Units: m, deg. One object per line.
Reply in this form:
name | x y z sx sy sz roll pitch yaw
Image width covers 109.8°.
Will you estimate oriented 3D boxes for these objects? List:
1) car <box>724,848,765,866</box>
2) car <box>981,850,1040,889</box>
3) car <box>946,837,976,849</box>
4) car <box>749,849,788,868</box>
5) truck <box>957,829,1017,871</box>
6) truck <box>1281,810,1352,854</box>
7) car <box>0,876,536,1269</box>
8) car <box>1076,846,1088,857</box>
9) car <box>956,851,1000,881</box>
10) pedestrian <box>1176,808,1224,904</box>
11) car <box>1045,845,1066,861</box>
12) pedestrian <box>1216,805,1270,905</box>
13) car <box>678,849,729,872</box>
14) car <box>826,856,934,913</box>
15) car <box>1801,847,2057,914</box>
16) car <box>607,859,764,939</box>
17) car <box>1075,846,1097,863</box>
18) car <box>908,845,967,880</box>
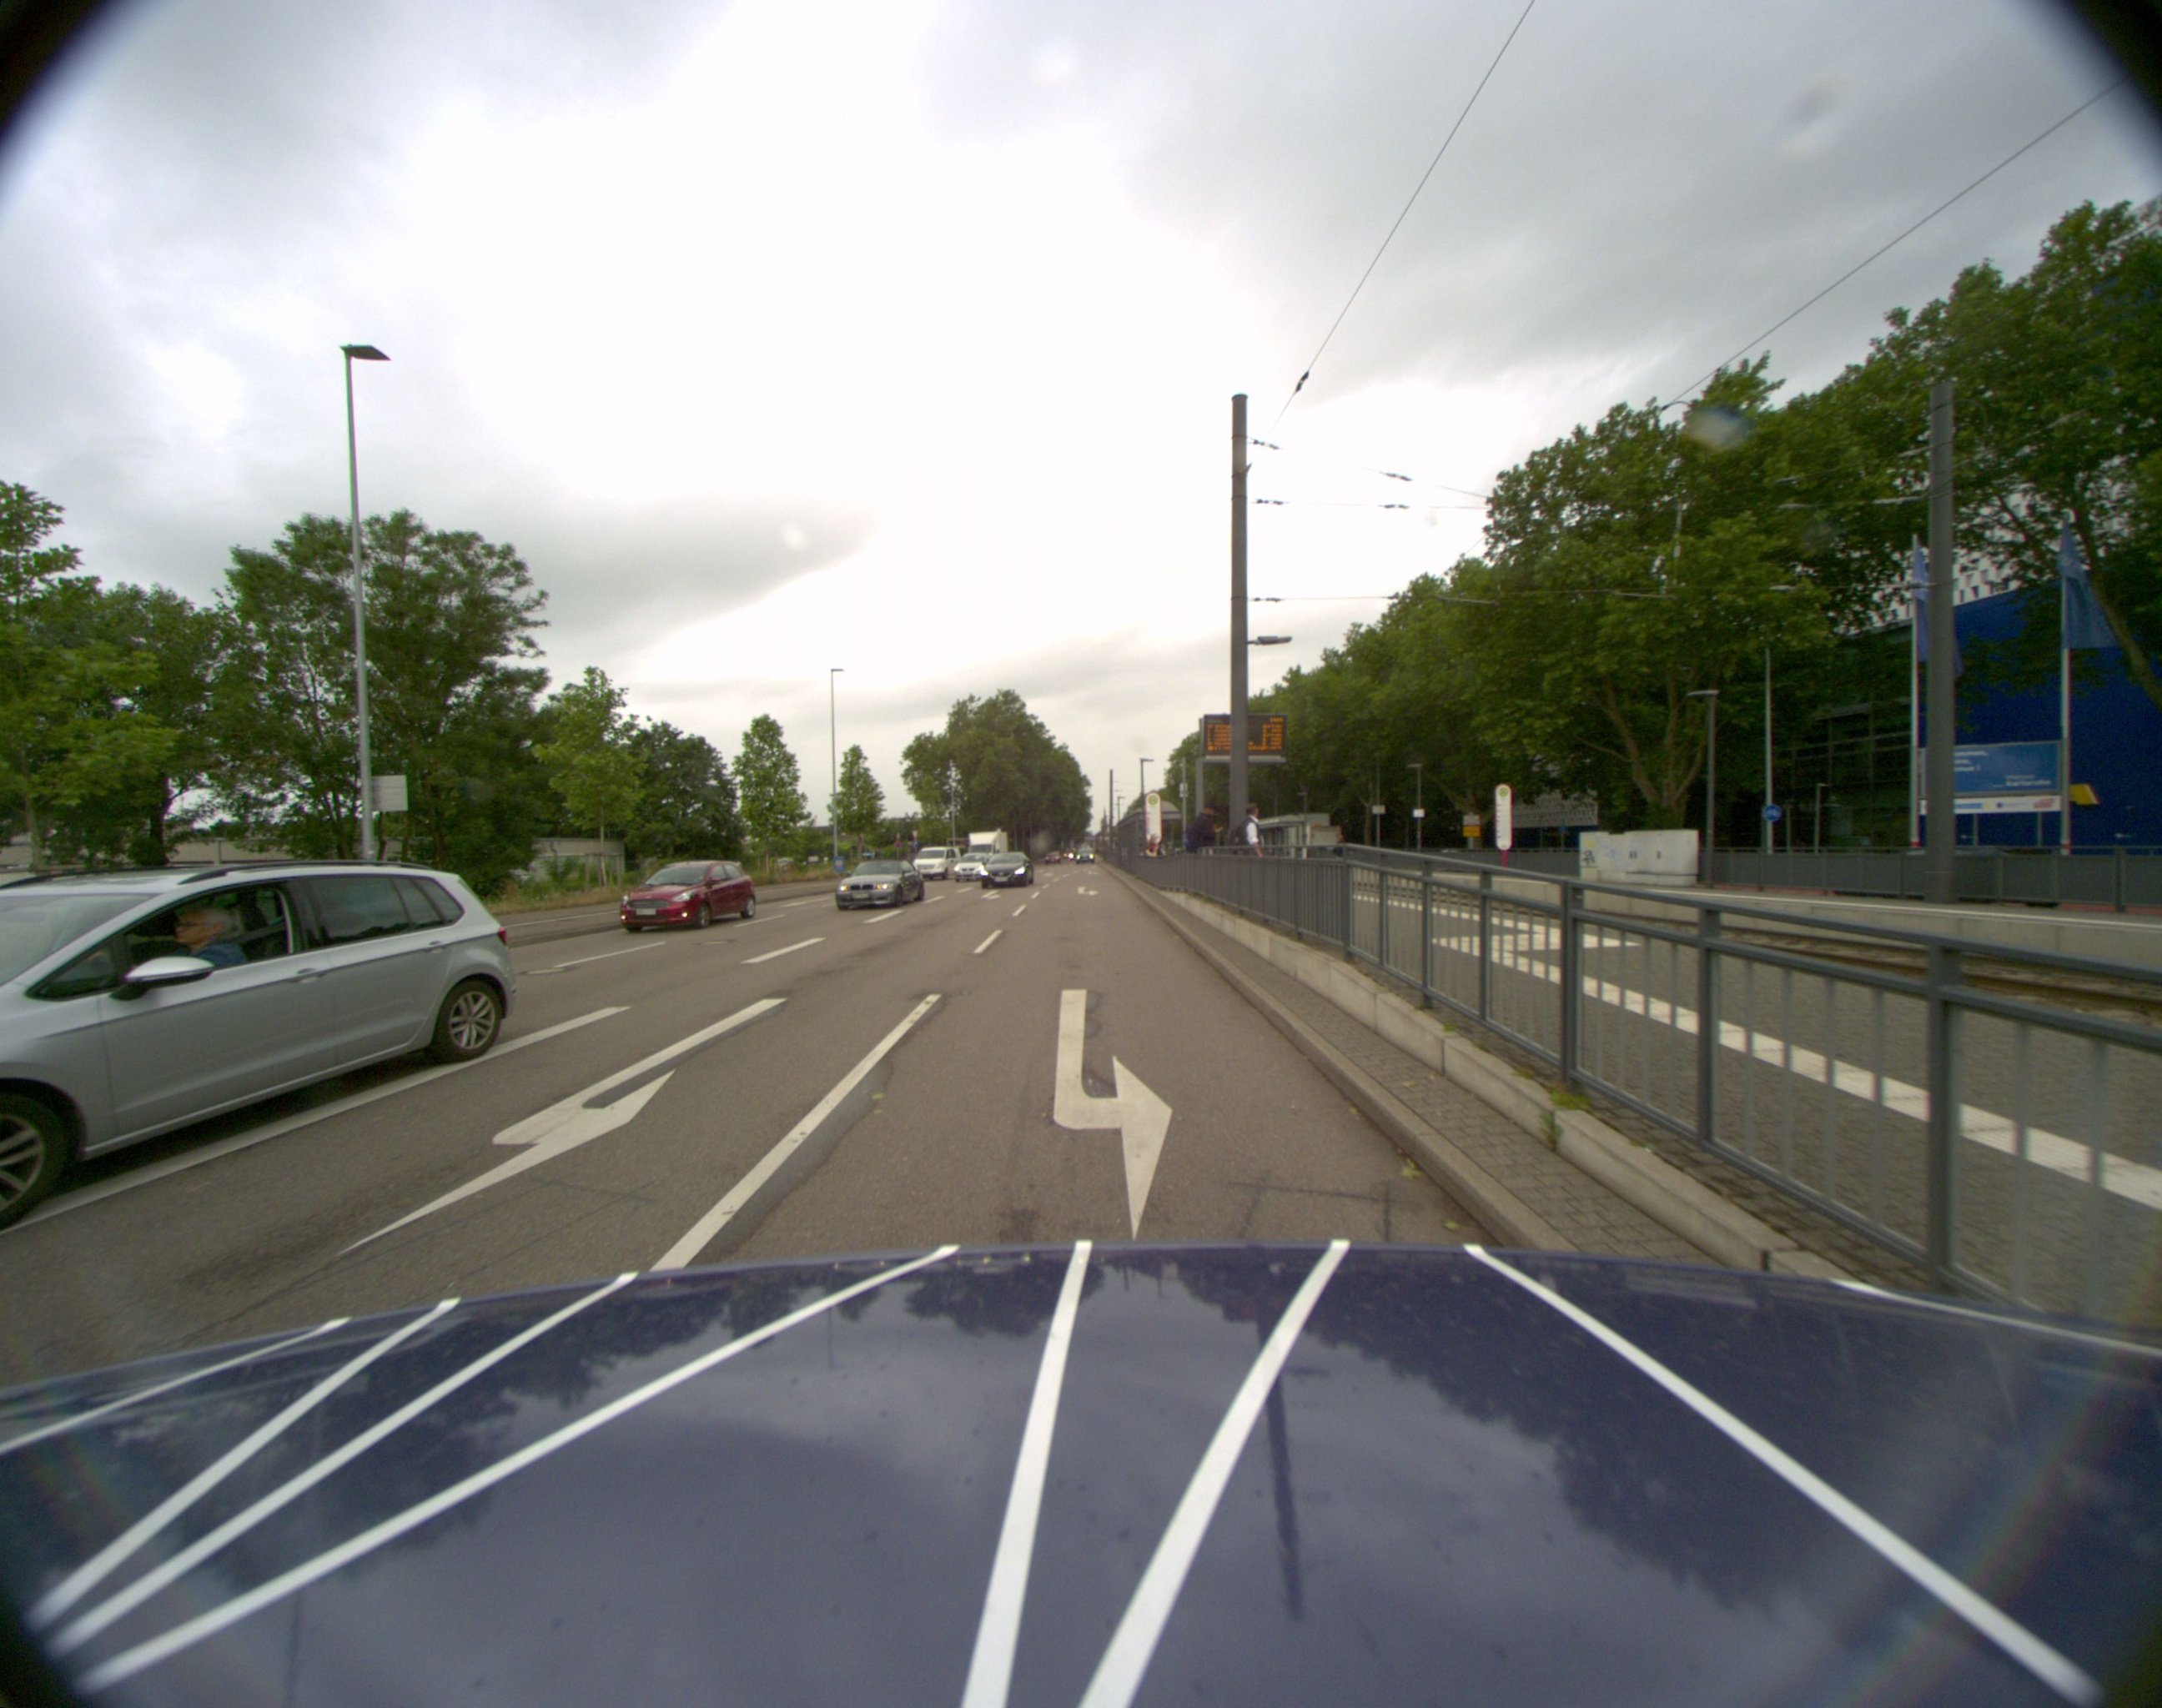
car | -33.958 0.262 76.836 2.123 1.686 4.649 -2 0 -2
car | -2.818 0.591 31.416 1.999 1.383 4.343 -2 1 0
car | -17.181 -1.585 108.862 3.998 1.499 1.809 -2 2 -4
car | -35.182 0.447 85.680 2.316 2.002 4.558 -2 0 0
truck | -7.072 -0.349 58.299 2.824 2.906 6.547 -2 1 8
truck | 21.114 -1.941 68.820 3.259 3.642 9.895 1 1 0
car | -5.576 1.021 4.330 1.859 1.543 4.200 -2 1 0
car | 0.189 -0.401 117.566 1.712 1.664 3.714 -1 1 4
car | -5.383 0.604 40.085 1.682 1.411 3.849 -2 1 0
pedestrian | 2.208 0.026 14.158 0.787 1.732 0.587 -2 2 4
car | -2.889 -0.133 87.399 1.892 1.673 4.000 -2 2 6
pedestrian | 2.590 0.011 12.202 0.710 1.551 0.632 -2 2 4
car | -33.867 0.585 68.305 2.188 2.002 4.558 0 0 1
car | -5.785 0.830 22.431 1.875 1.383 4.343 -2 1 2
car | 20.496 0.566 18.668 1.726 1.410 3.998 -1 1 -3
car | -9.066 0.958 17.785 1.655 1.552 3.770 -2 1 0
car | 0.565 0.045 80.370 1.960 1.674 4.000 -2 2 6
car | -8.300 0.451 44.492 2.098 1.869 5.121 -2 1 3
